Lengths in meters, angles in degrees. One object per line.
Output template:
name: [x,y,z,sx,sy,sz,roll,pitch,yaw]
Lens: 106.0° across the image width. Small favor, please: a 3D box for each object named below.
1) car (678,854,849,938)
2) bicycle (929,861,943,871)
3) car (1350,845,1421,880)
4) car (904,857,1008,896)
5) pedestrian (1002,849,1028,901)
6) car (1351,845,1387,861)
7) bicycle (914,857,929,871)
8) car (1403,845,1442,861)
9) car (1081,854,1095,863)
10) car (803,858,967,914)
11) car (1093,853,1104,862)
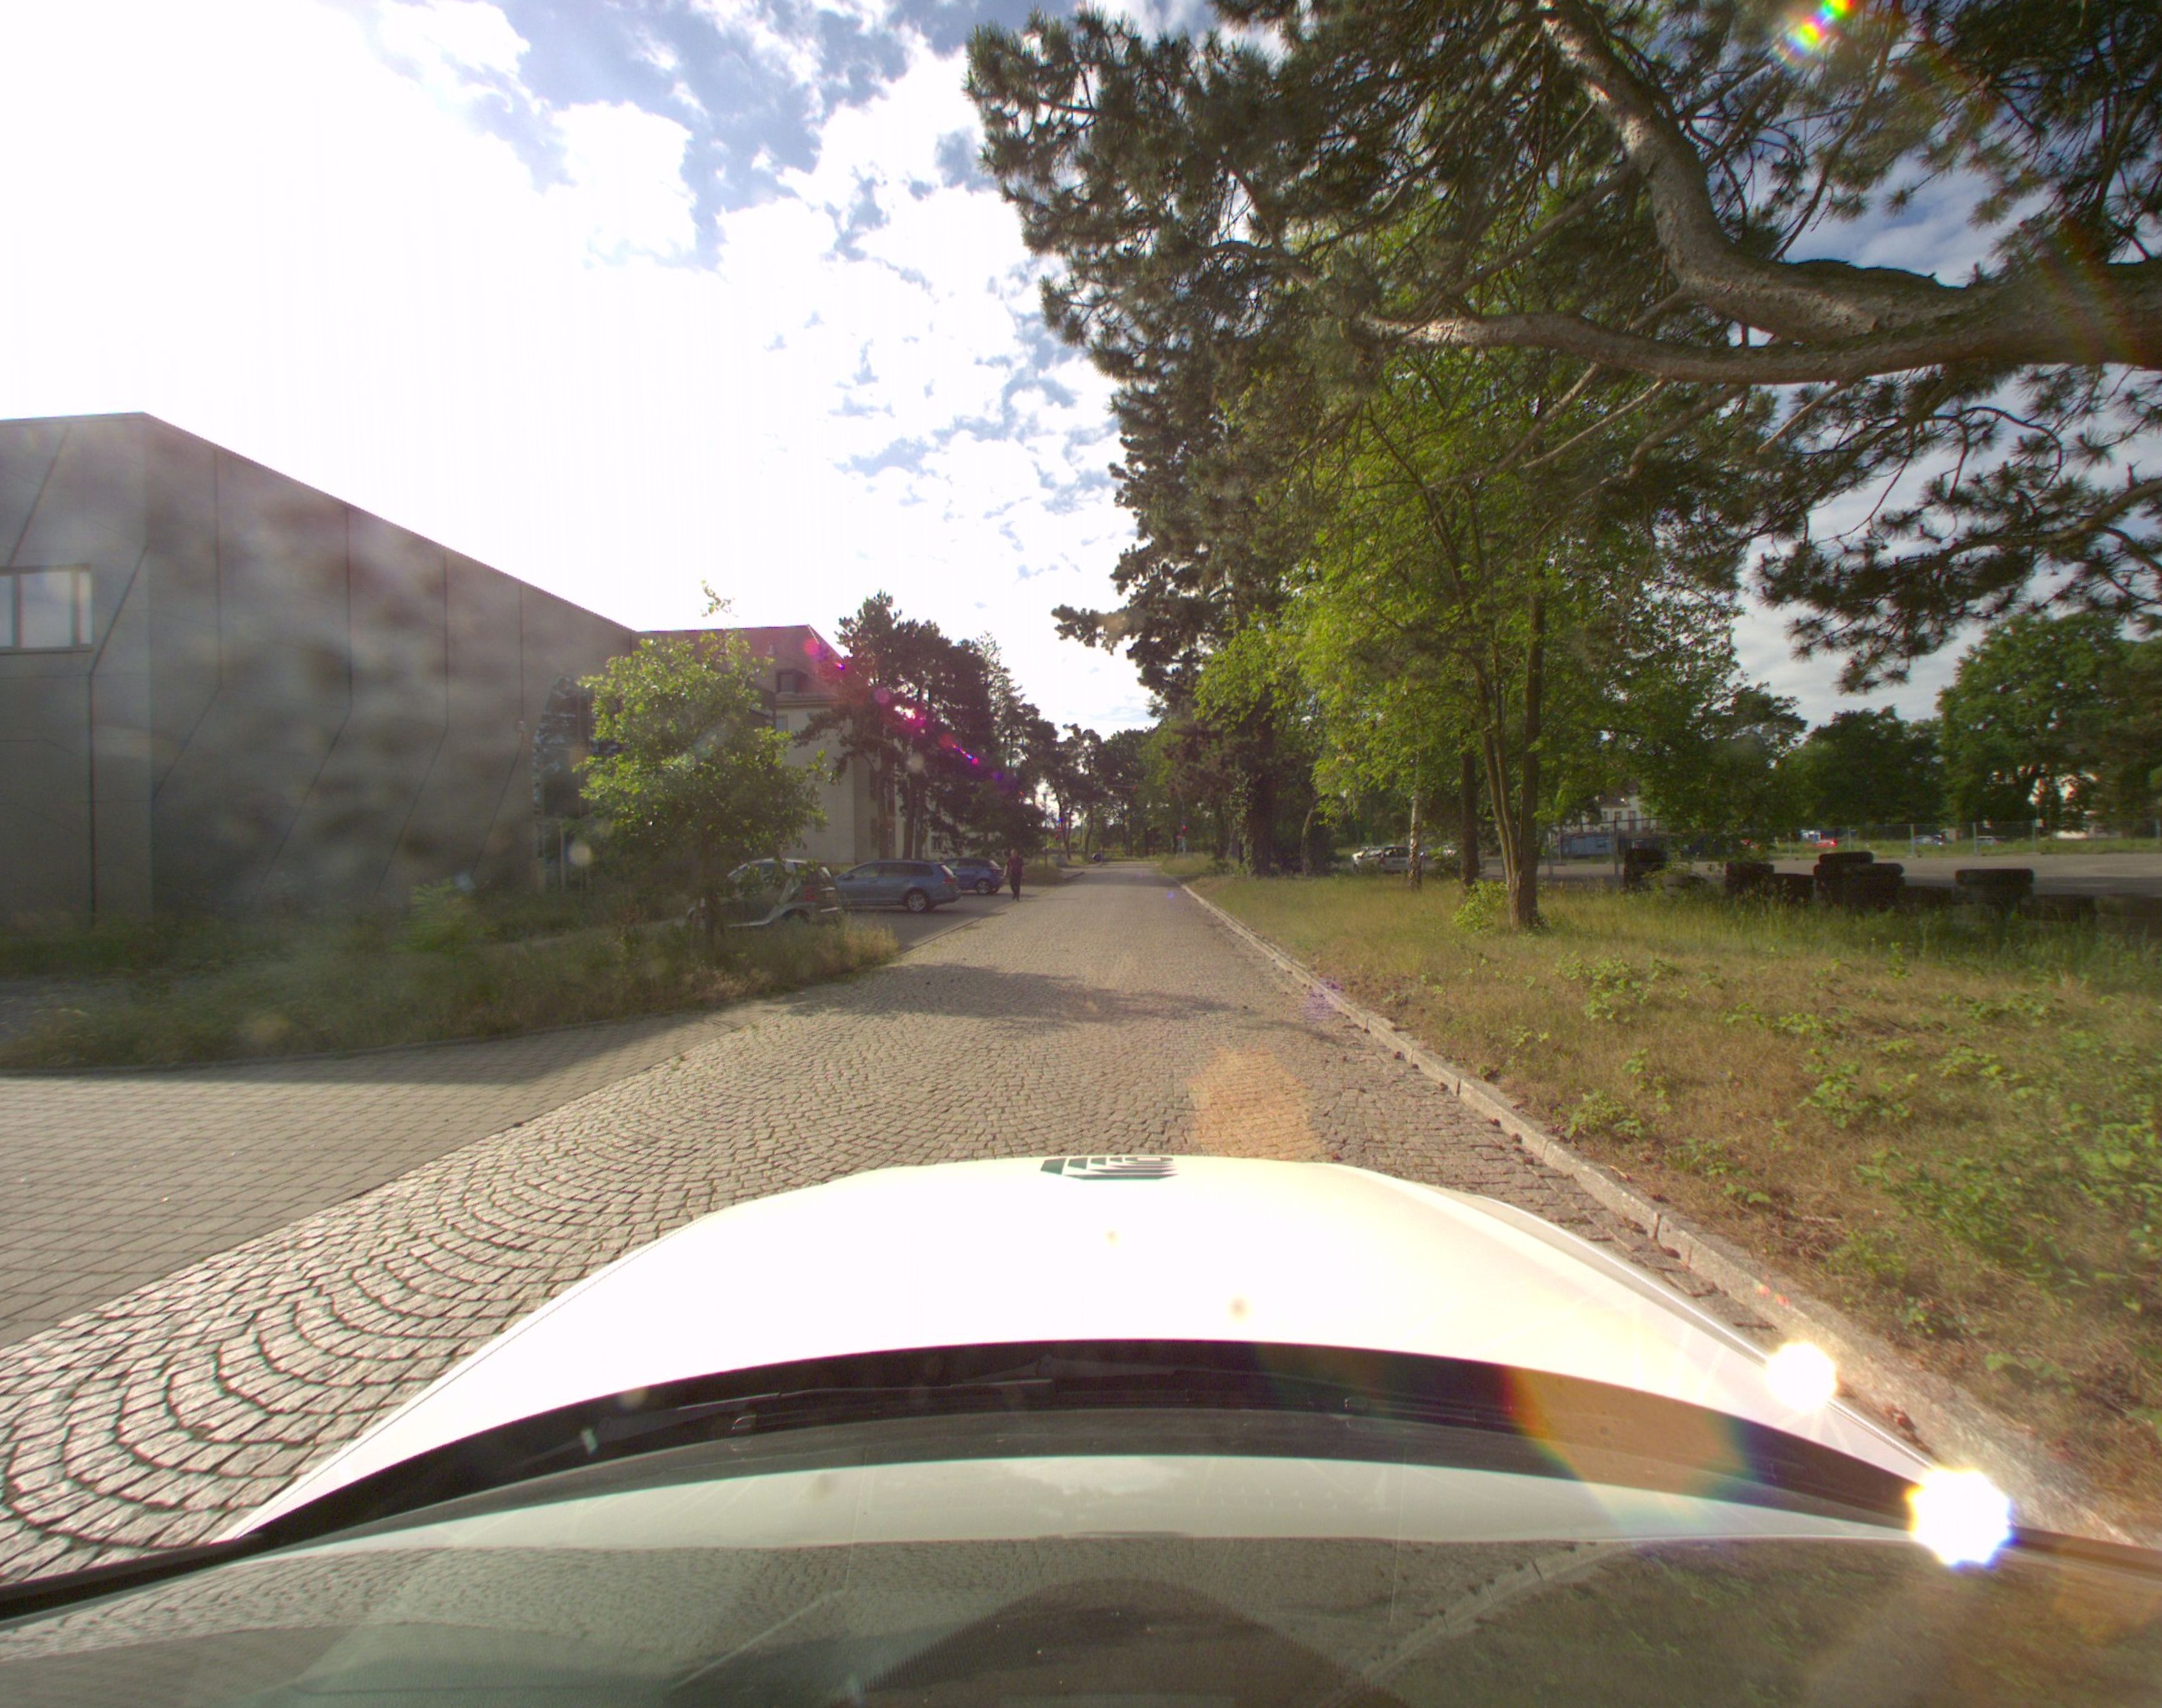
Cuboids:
car: [-6.131,0.785,15.917,2.688,1.542,1.520,0,0,2]
bicycle: [-14.828,1.215,83.312,0.822,1.047,2.126,-1,0,4]
car: [13.616,0.362,36.629,1.662,1.467,4.000,-1,0,0]
car: [-4.983,0.883,32.768,3.817,1.464,1.722,0,0,5]
pedestrian: [-2.337,0.720,28.853,0.802,1.771,1.153,-1,0,-1]
car: [25.991,-0.099,73.697,1.725,1.312,4.332,-1,0,0]
bicycle: [-16.379,1.005,83.693,0.822,1.437,2.556,-1,0,4]
car: [31.048,-0.084,74.090,1.725,1.312,4.331,-2,0,0]
car: [1.311,0.764,143.664,1.771,1.490,3.766,-1,0,11]
car: [-5.497,0.881,23.196,4.241,1.464,1.681,1,2,1]
car: [2.958,0.646,138.743,1.838,1.486,4.001,-1,0,1]
